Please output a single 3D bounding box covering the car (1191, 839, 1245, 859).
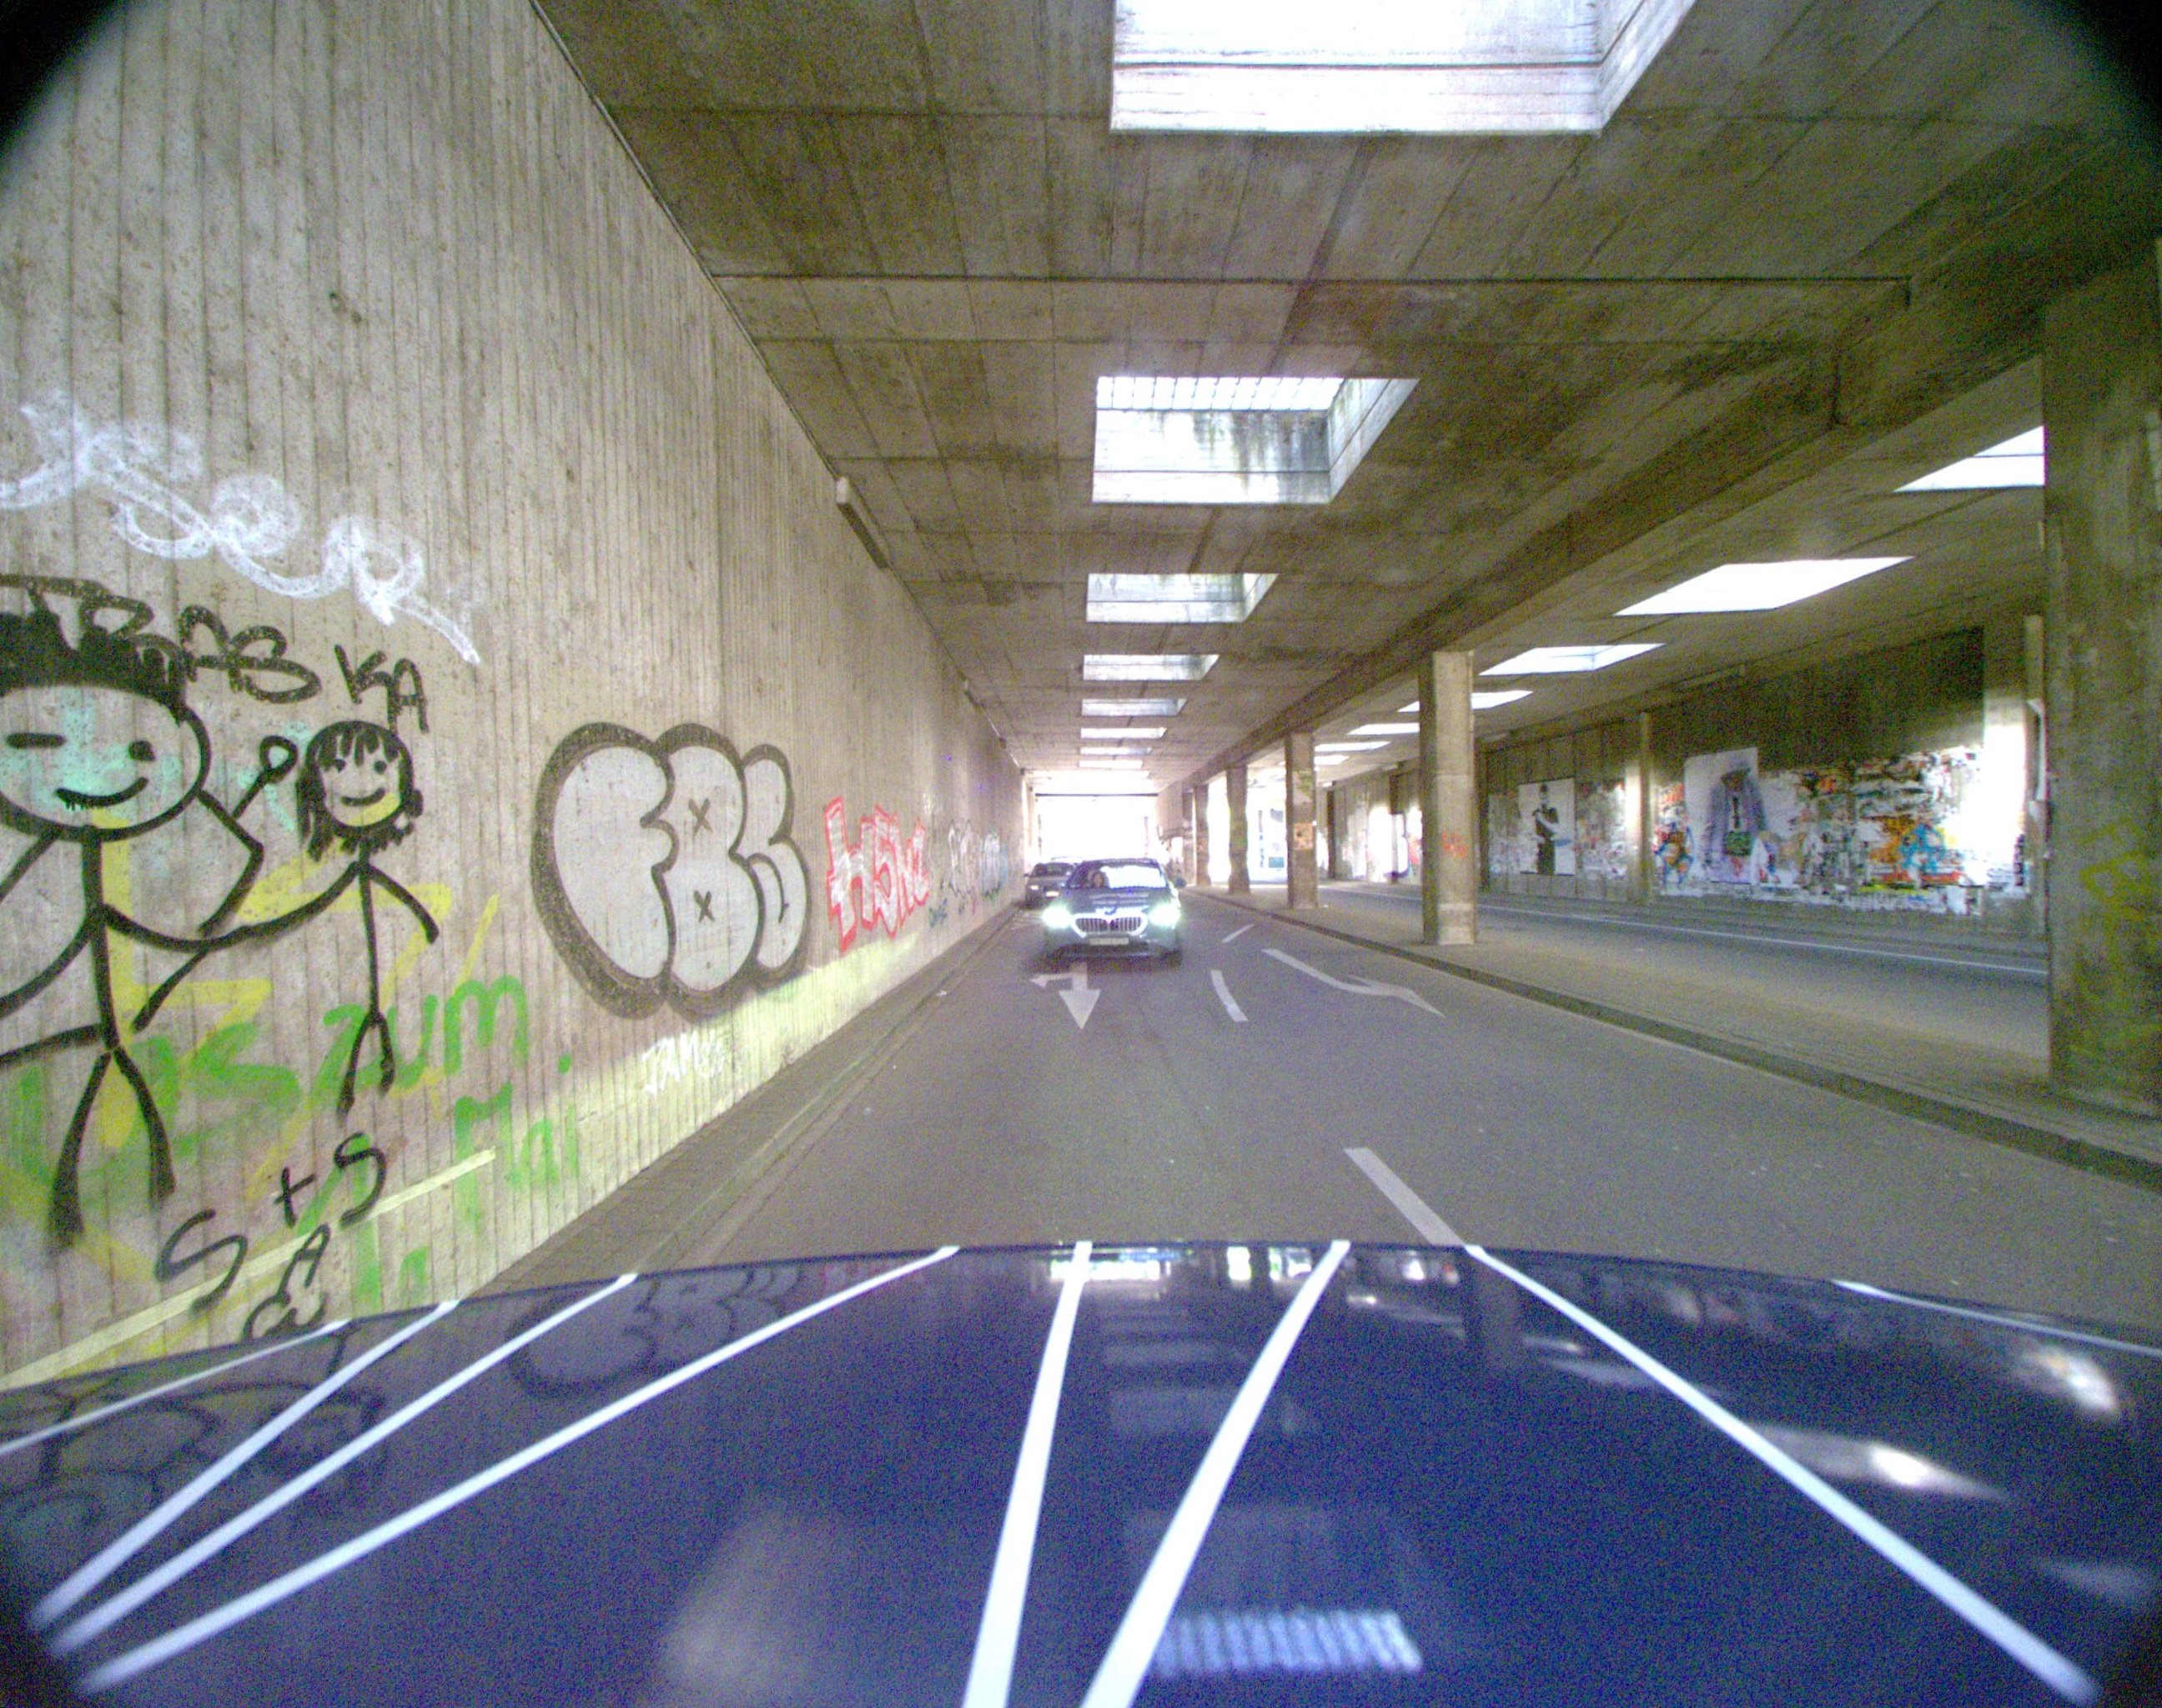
[{"bbox_3d":[14.289,-0.549,79.356,5.147,2.002,2.361,-1,0,-1],"label":"car"}]

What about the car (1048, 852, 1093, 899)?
[{"bbox_3d":[-0.348,0.771,29.898,1.581,1.676,4.078,-2,0,1],"label":"car"}]

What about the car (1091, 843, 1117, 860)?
[{"bbox_3d":[2.899,-0.321,97.529,2.361,2.002,5.146,-1,0,-8],"label":"car"}]

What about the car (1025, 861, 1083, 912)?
[{"bbox_3d":[-0.773,0.952,23.892,1.593,1.387,3.833,-2,0,1],"label":"car"}]

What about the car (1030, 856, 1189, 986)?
[{"bbox_3d":[0.573,0.871,12.286,1.998,1.594,5.177,-1,0,5],"label":"car"}]

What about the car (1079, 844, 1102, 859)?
[{"bbox_3d":[1.247,-0.328,103.542,2.361,2.002,5.146,-1,0,-8],"label":"car"}]
